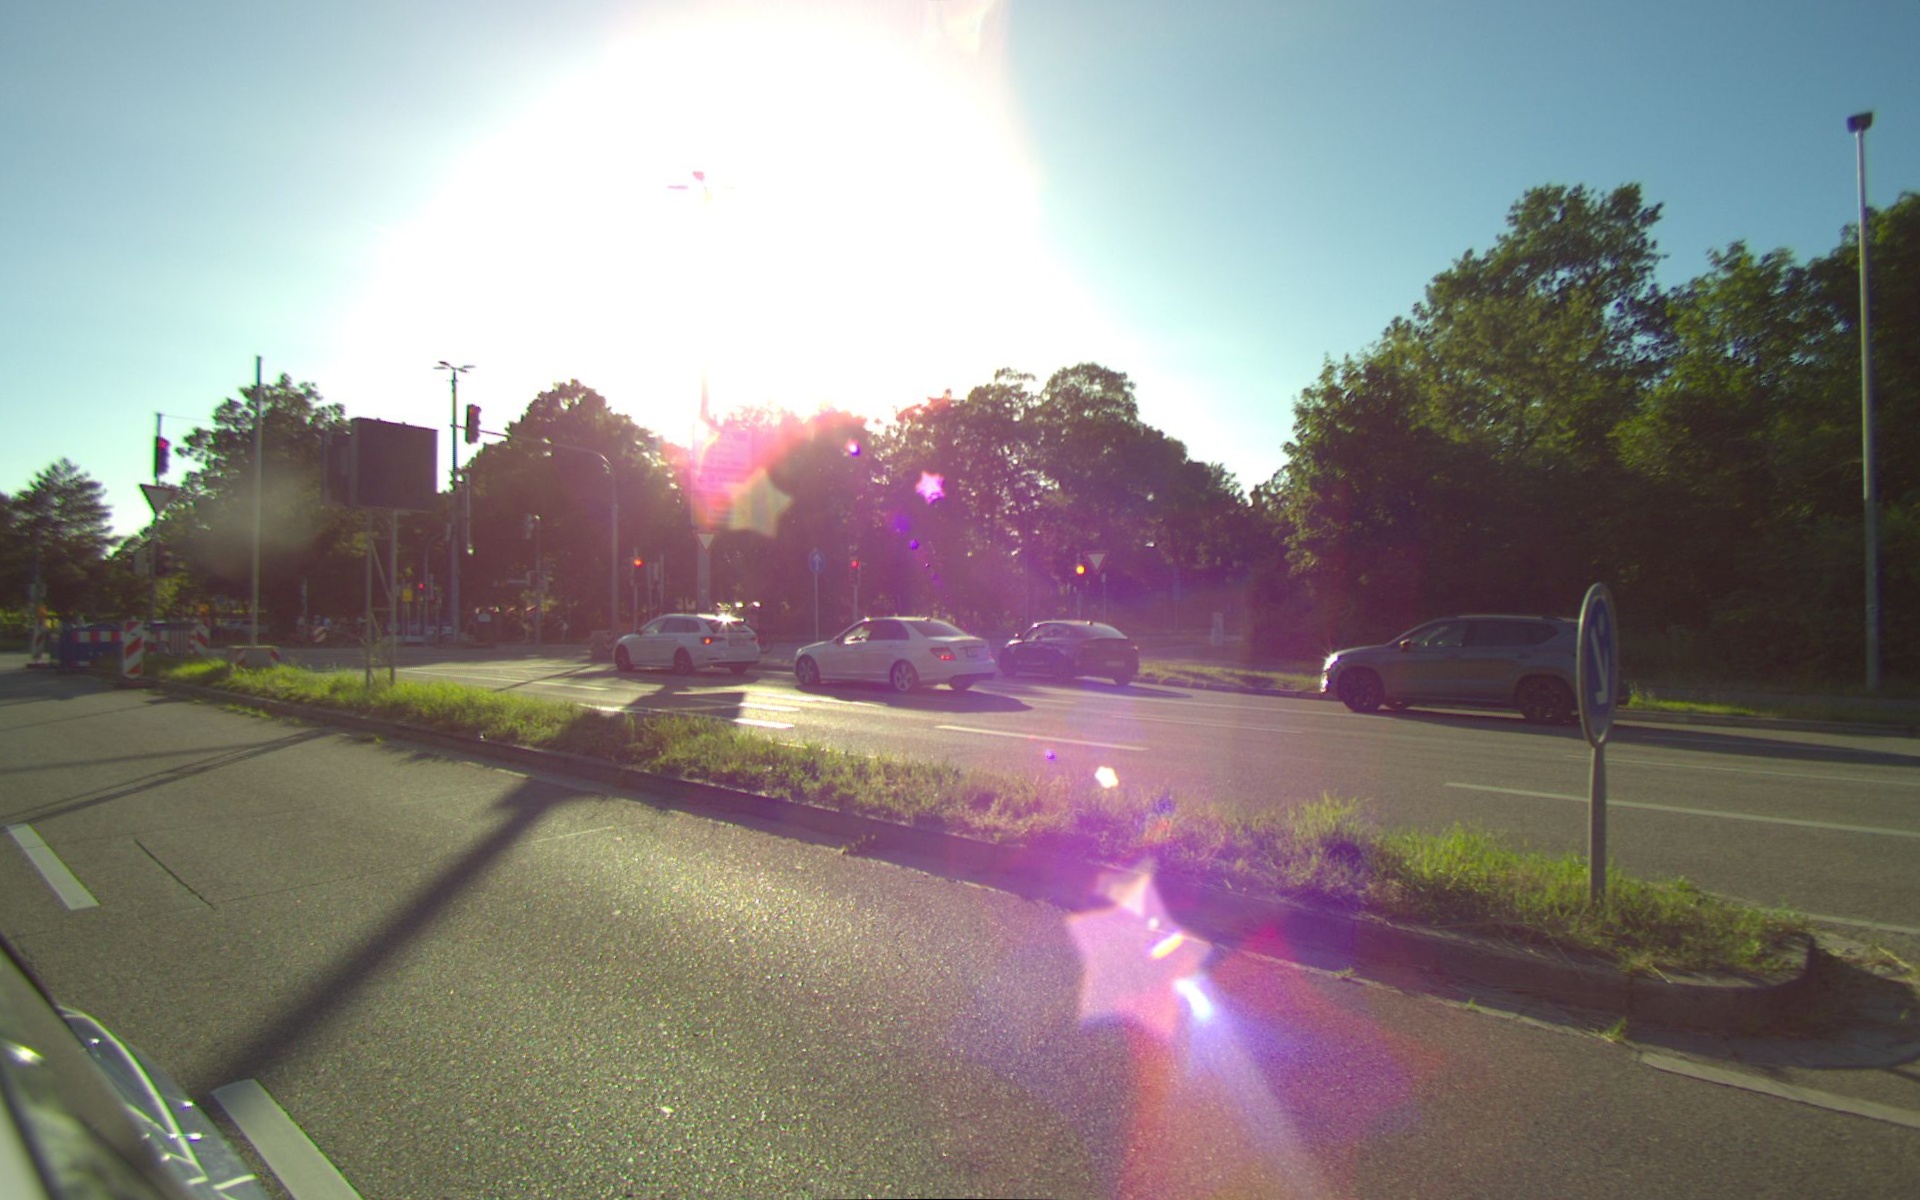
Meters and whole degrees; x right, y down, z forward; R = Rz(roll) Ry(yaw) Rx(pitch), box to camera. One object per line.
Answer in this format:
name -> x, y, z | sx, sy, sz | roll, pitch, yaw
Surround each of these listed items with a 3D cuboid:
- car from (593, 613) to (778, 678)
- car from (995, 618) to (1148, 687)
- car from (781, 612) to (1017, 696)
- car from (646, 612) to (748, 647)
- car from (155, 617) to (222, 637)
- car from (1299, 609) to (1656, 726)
car -> -6.860, 1.086, 25.032 | 4.838, 1.462, 1.973 | -1, -2, 40
car -> 2.502, 1.165, 24.025 | 1.966, 1.462, 4.661 | 0, -1, -16
car -> -1.294, 1.000, 19.923 | 4.646, 1.462, 1.972 | -1, -2, 42
car -> -13.459, 1.491, 51.844 | 4.663, 1.700, 2.005 | 0, -1, -35
car -> -64.340, 2.215, 84.447 | 1.990, 1.530, 3.963 | 0, 0, 27
car -> 7.996, 0.967, 15.962 | 4.650, 1.576, 1.971 | -1, -2, 45
